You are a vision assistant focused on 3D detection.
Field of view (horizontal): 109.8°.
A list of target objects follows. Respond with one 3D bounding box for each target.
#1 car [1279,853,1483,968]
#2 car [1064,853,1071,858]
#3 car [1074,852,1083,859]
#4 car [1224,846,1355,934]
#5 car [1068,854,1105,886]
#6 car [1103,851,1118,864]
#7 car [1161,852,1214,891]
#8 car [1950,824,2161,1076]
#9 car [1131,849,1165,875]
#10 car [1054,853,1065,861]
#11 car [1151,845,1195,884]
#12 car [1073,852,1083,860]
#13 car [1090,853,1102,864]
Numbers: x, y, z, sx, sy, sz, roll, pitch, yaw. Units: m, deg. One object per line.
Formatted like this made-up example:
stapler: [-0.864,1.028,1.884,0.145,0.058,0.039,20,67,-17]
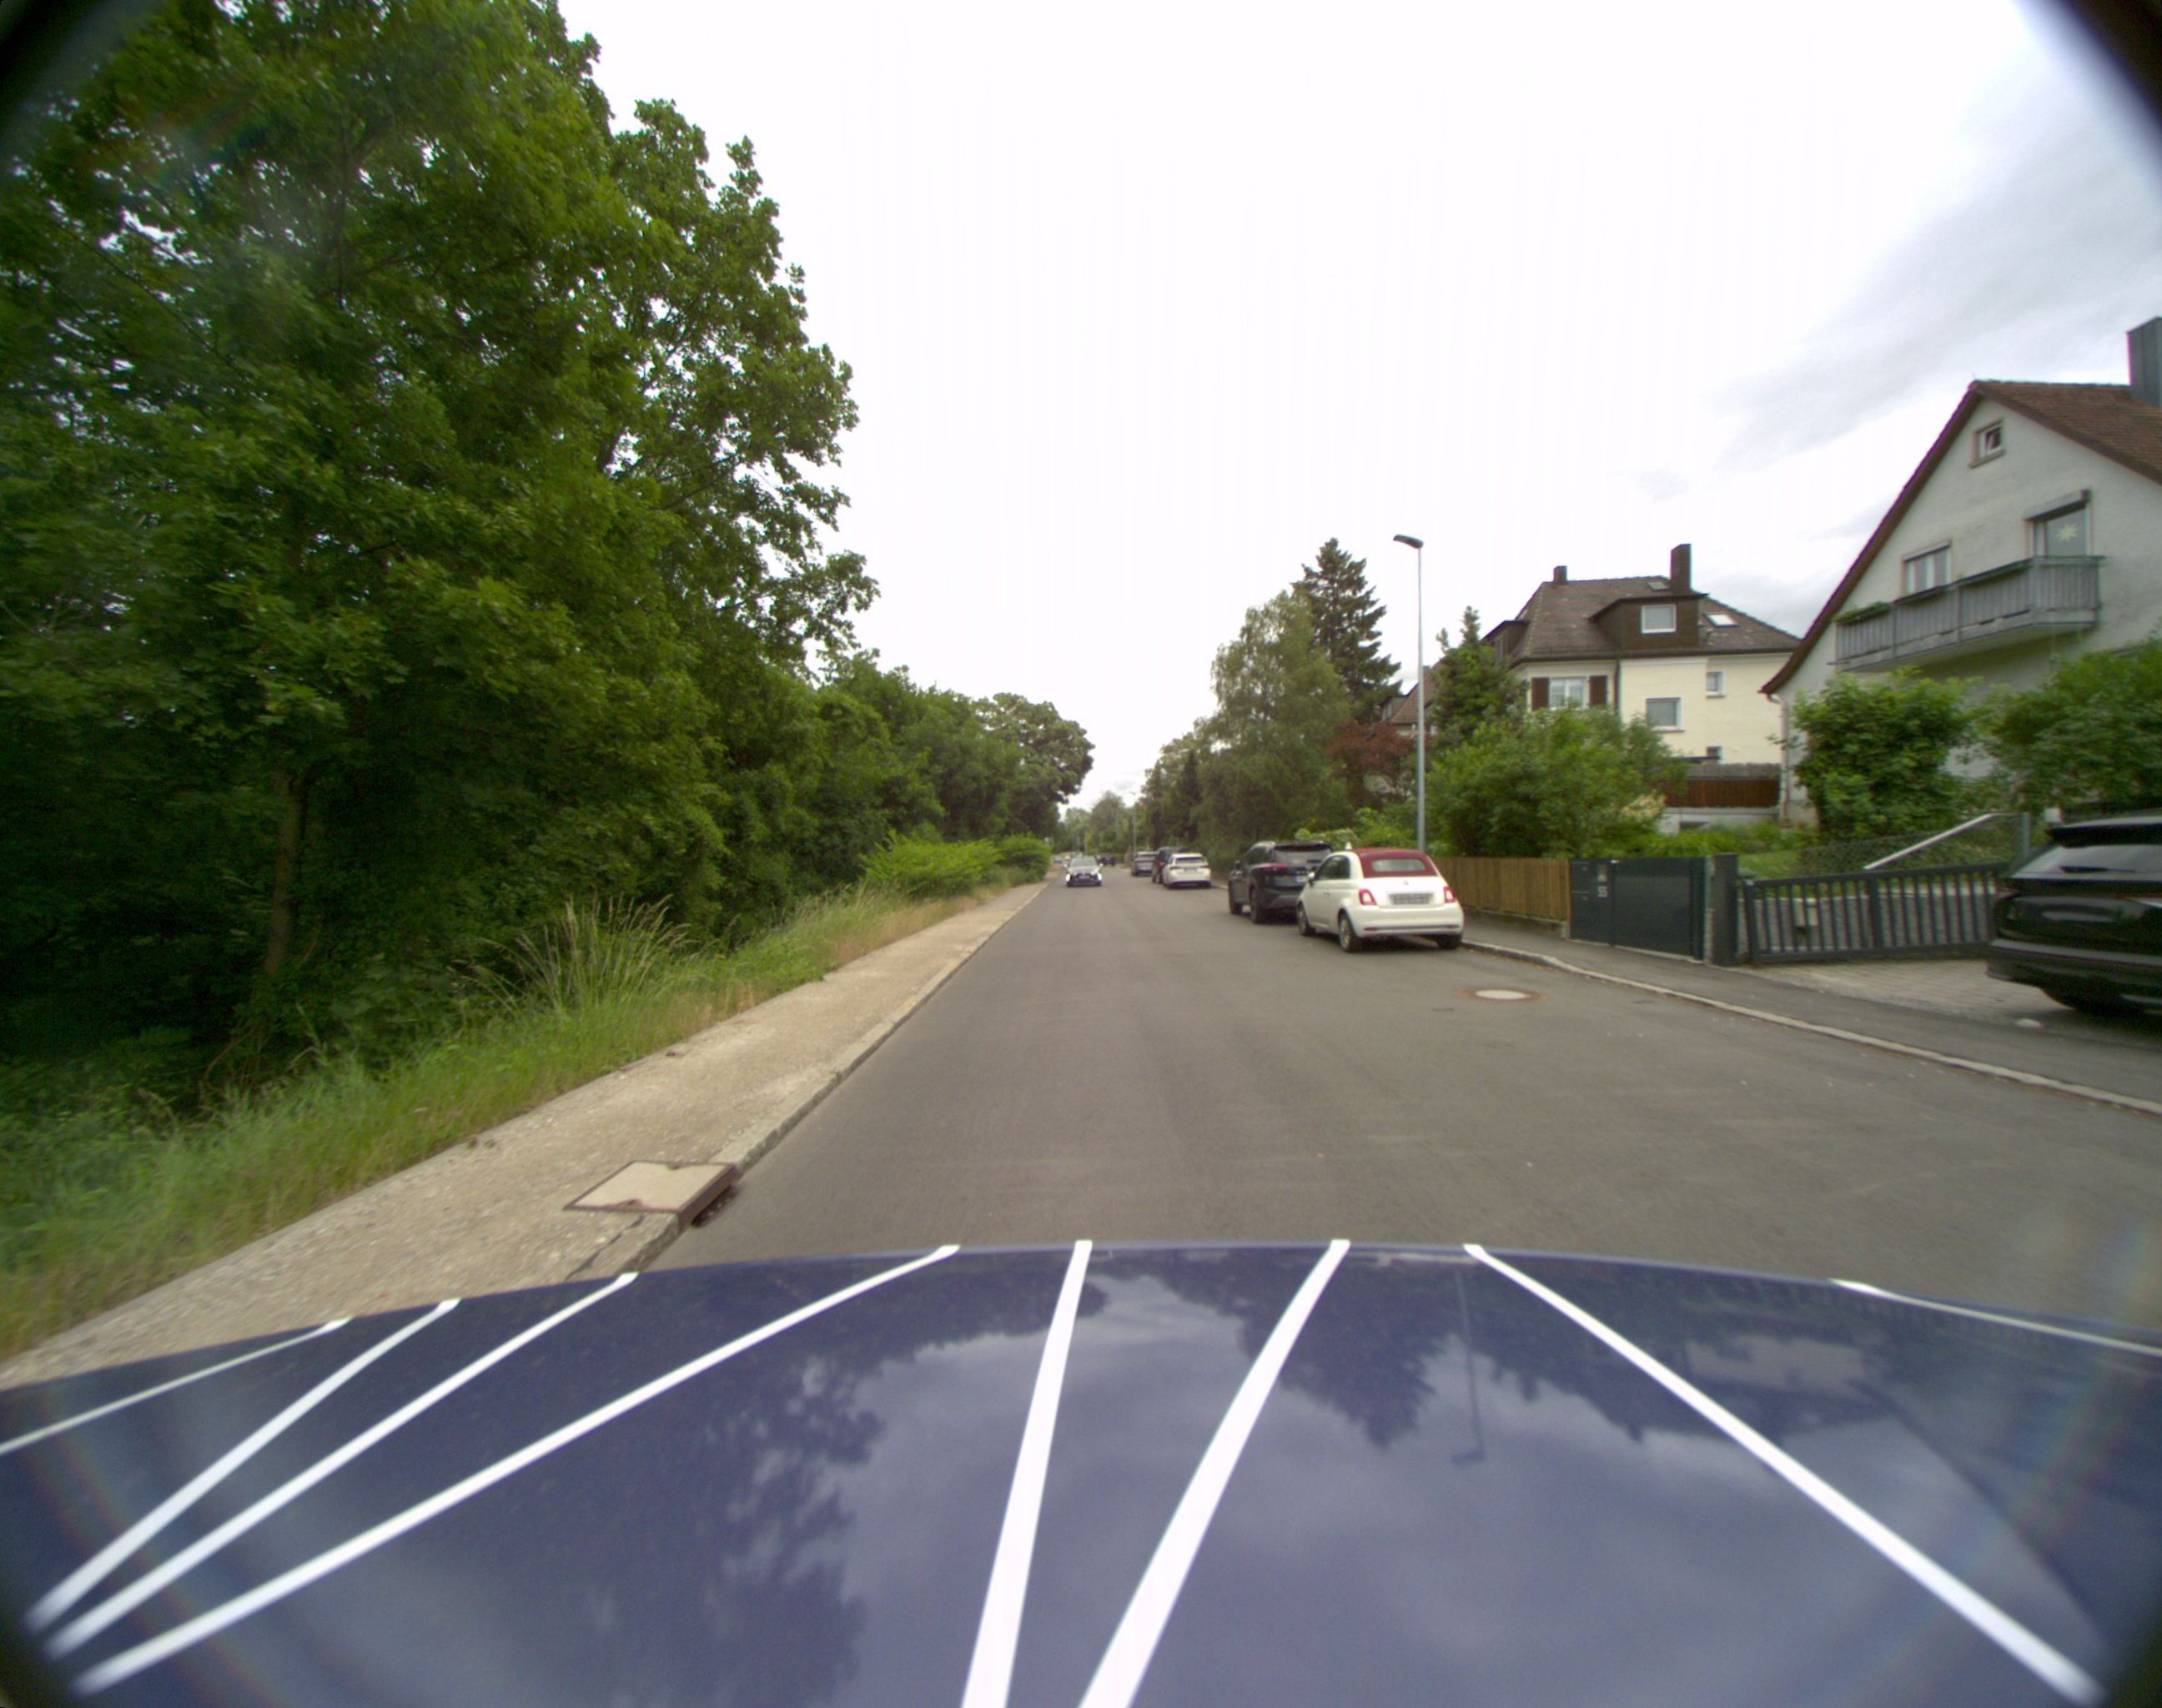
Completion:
car: [4.573,0.756,12.250,1.711,1.502,3.946,-2,0,0]
car: [-4.088,0.428,228.740,1.922,1.670,4.194,-2,0,-2]
car: [-0.488,0.381,177.855,1.922,1.670,4.194,-2,0,-2]
car: [4.433,0.688,16.828,1.796,1.654,4.392,-2,0,2]
car: [0.284,0.779,38.195,1.711,1.466,4.195,-2,0,1]
car: [3.969,0.472,102.420,1.922,1.670,4.195,-2,0,1]
car: [4.460,0.685,32.397,1.711,1.502,4.555,-2,0,2]
car: [8.753,0.513,4.755,3.993,1.538,1.843,-3,0,14]
car: [4.455,0.530,51.134,1.800,1.598,4.730,-2,0,0]
car: [-4.289,0.601,150.979,1.923,1.670,4.193,-2,0,-4]
car: [4.584,0.495,38.205,1.711,1.789,4.298,-2,0,1]
car: [-0.584,0.436,160.570,1.922,1.670,4.194,-2,0,-2]
car: [2.290,0.642,113.136,1.711,1.466,4.195,-2,0,1]
